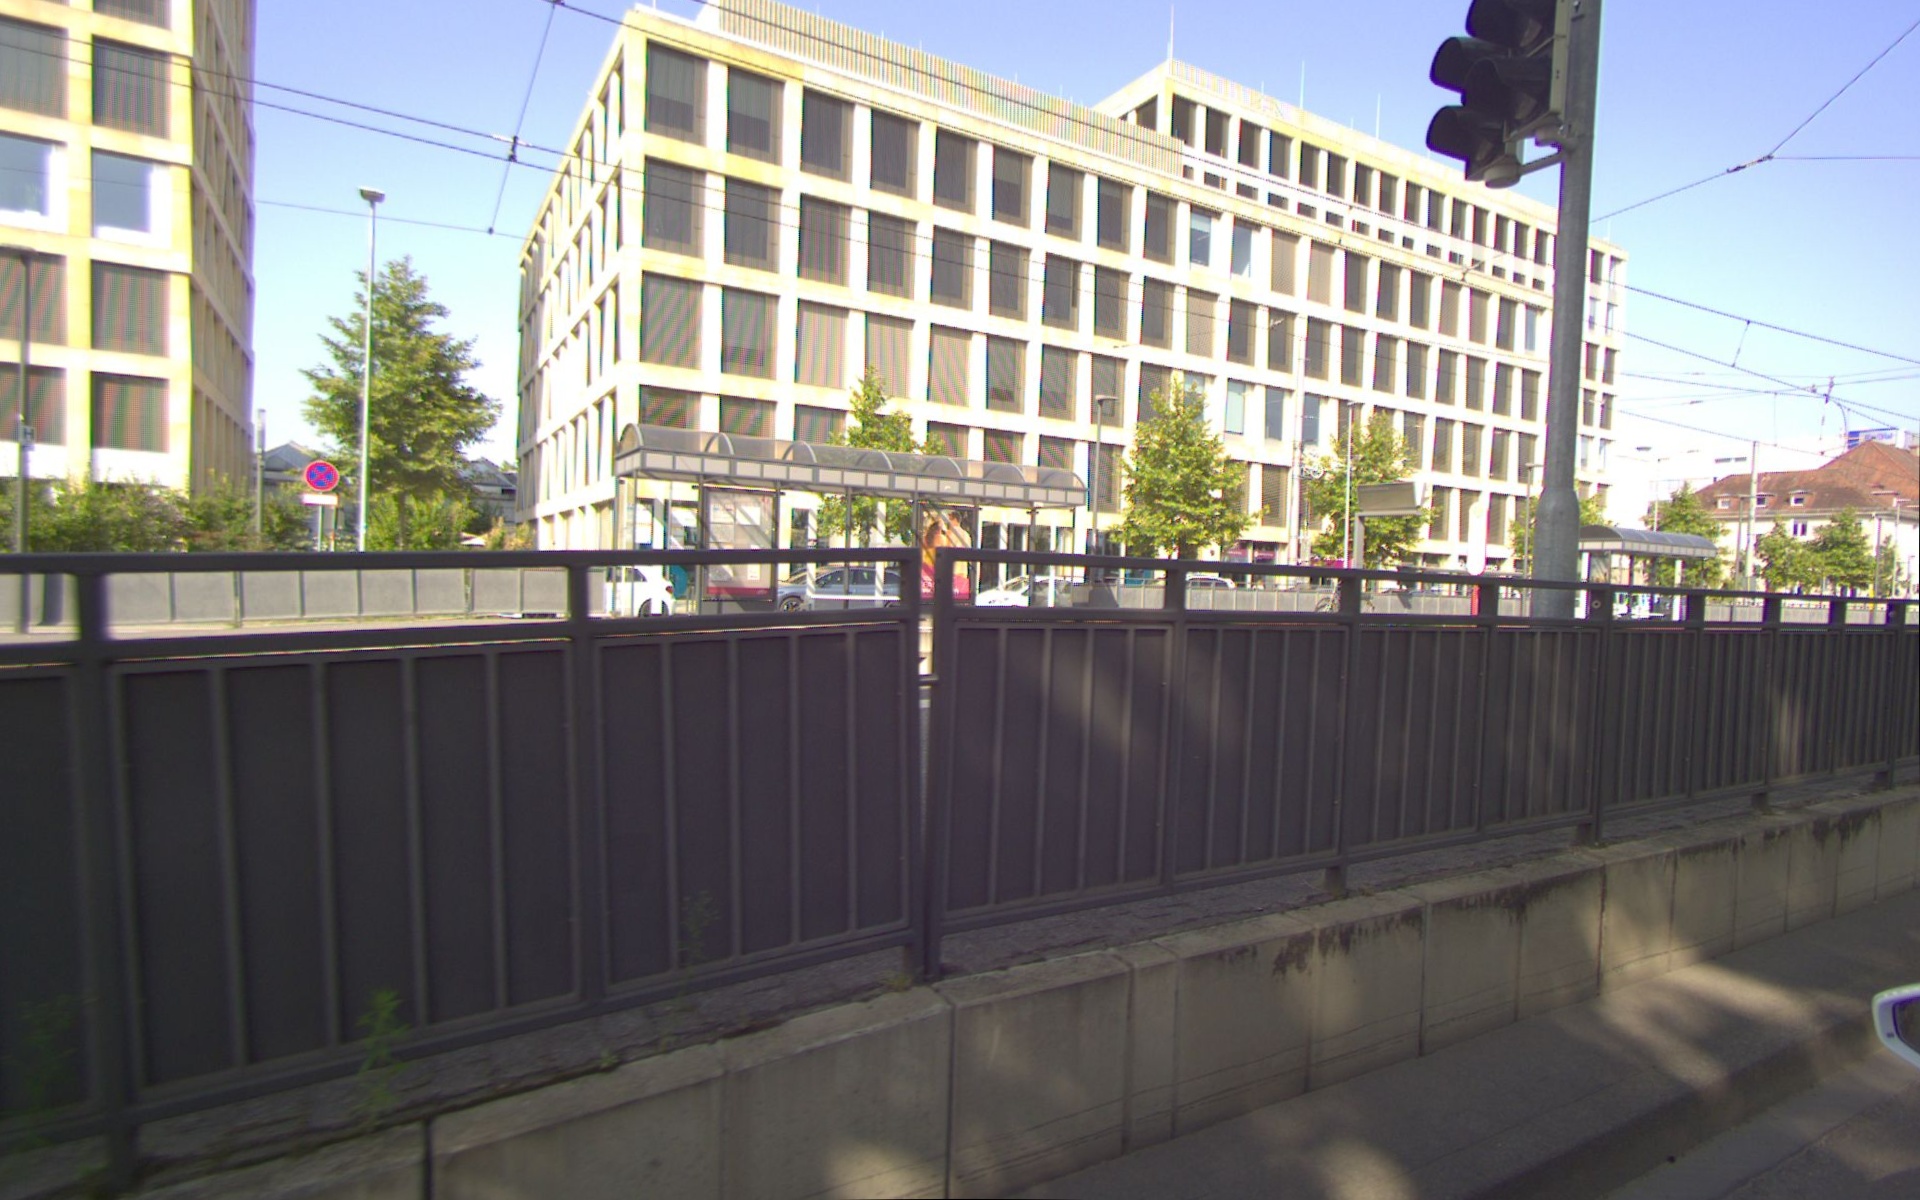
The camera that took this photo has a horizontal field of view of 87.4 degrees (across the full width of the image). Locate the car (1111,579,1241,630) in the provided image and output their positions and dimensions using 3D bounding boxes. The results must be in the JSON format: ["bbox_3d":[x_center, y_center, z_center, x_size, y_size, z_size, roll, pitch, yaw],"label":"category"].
[{"bbox_3d":[7.119,0.152,32.962,4.174,1.571,1.634,1,1,-31],"label":"car"}]

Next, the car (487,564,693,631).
[{"bbox_3d":[-8.347,-0.047,22.766,4.174,1.395,1.634,1,1,-31],"label":"car"}]

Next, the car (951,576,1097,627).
[{"bbox_3d":[1.939,0.057,30.146,4.174,1.395,1.634,1,1,-31],"label":"car"}]

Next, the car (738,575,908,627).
[{"bbox_3d":[-3.595,0.046,26.594,4.174,1.270,1.634,1,1,-31],"label":"car"}]

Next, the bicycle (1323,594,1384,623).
[{"bbox_3d":[9.857,0.218,25.155,1.592,0.671,0.475,1,1,-26],"label":"bicycle"}]
